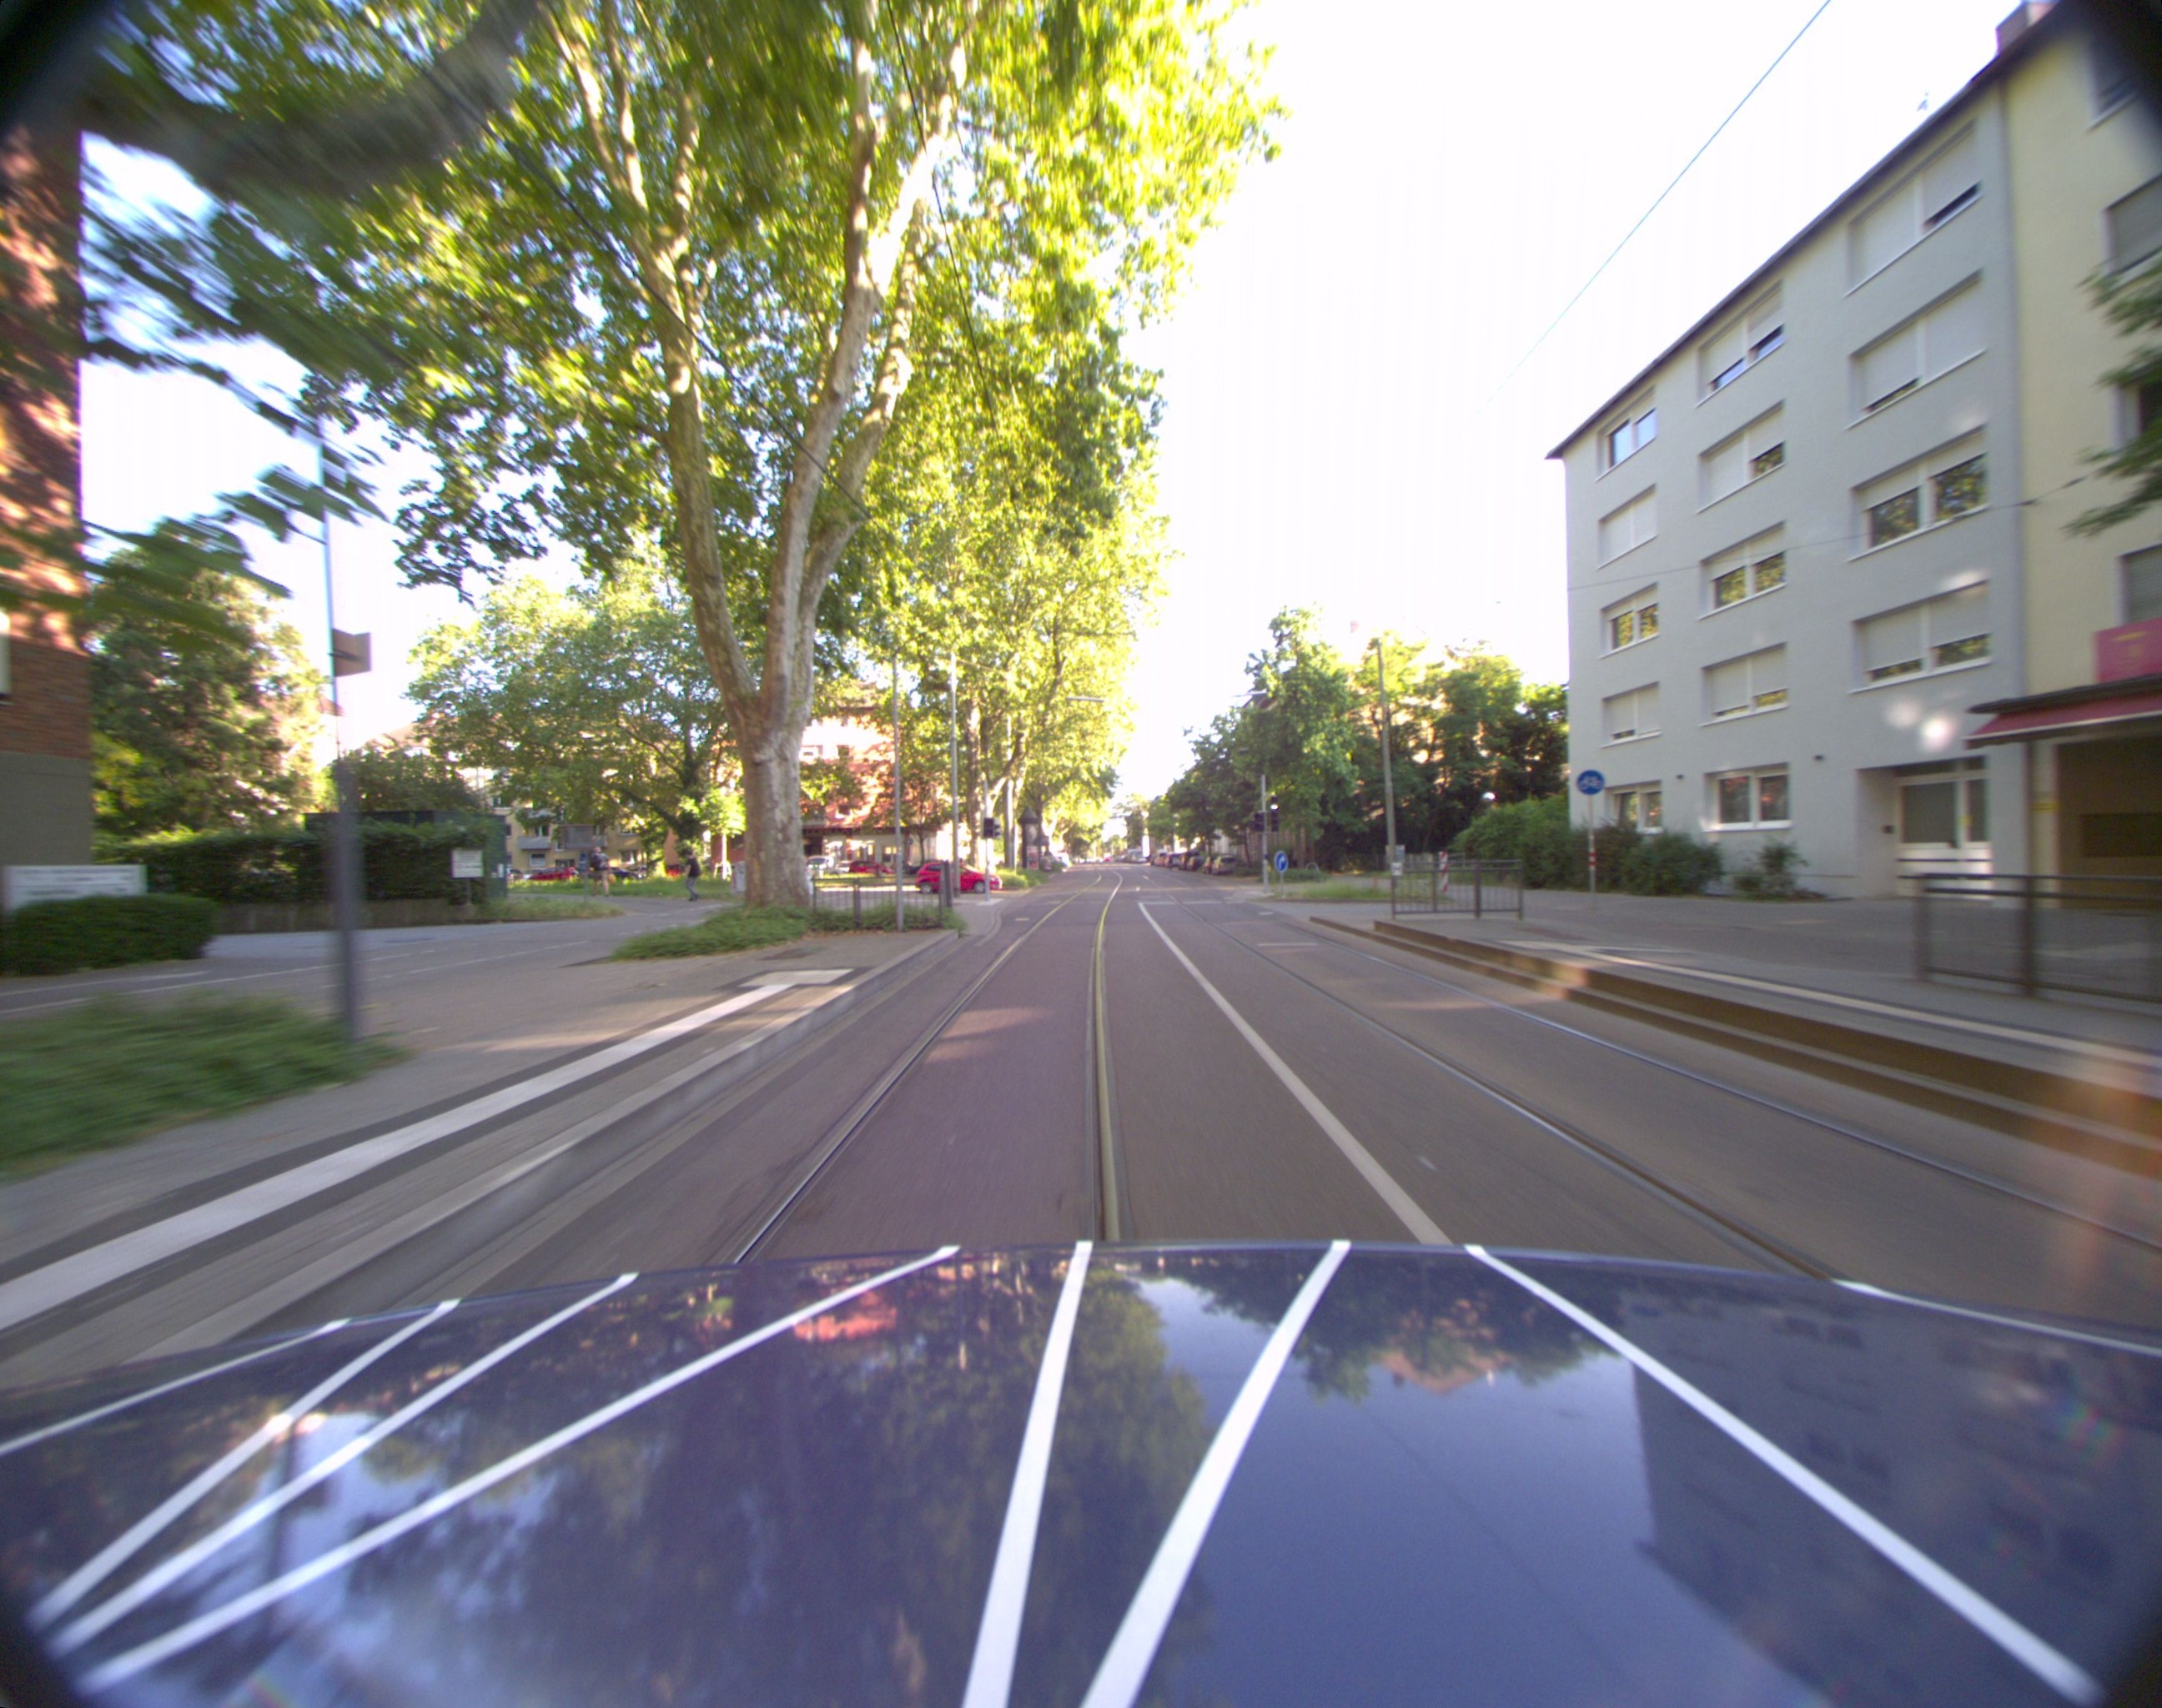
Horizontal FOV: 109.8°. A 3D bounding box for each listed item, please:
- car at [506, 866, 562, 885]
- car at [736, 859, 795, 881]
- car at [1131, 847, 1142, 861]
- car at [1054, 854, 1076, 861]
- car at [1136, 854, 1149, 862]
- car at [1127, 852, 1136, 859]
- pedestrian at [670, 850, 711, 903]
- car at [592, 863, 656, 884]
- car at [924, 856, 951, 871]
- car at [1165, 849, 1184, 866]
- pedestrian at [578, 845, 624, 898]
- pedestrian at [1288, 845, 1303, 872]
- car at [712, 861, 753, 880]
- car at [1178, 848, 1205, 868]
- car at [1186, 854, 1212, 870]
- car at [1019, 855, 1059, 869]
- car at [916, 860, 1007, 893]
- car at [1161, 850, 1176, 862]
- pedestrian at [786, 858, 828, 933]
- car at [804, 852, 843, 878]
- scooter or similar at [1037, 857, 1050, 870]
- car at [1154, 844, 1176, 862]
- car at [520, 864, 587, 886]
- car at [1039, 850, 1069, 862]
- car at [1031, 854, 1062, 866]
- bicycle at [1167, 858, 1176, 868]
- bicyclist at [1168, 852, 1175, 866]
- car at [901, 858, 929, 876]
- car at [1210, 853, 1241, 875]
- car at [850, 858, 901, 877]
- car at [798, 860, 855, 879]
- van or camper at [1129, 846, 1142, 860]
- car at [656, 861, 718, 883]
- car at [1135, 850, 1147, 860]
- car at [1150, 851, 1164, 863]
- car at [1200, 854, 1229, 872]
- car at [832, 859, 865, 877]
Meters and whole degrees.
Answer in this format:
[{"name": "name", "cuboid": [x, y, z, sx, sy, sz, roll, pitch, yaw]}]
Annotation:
[{"name": "car", "cuboid": [-47.712, 1.845, 66.427, 1.794, 1.565, 4.576, -1, 0, -3]}, {"name": "car", "cuboid": [-24.767, 1.248, 59.668, 3.928, 1.572, 1.683, -1, 0, -1]}, {"name": "car", "cuboid": [11.779, -0.081, 161.663, 1.927, 2.730, 4.546, -5, 0, 1]}, {"name": "car", "cuboid": [-3.384, 0.832, 162.680, 4.611, 1.485, 1.893, 0, -1, 3]}, {"name": "car", "cuboid": [11.774, 0.699, 145.168, 1.776, 1.484, 4.940, -2, 0, -2]}, {"name": "car", "cuboid": [11.984, 0.381, 180.342, 1.791, 1.743, 4.435, -2, 0, 0]}, {"name": "pedestrian", "cuboid": [-13.781, 0.784, 26.813, 0.997, 1.800, 0.864, -1, 0, -5]}, {"name": "car", "cuboid": [-35.496, 1.489, 59.071, 3.928, 1.572, 1.683, -1, 0, -1]}, {"name": "car", "cuboid": [-14.303, 0.897, 75.820, 1.753, 1.426, 4.468, -1, 0, 1]}, {"name": "car", "cuboid": [11.481, 0.387, 93.561, 1.848, 1.977, 4.988, -1, 0, 2]}, {"name": "pedestrian", "cuboid": [-17.420, 0.623, 27.598, 0.985, 1.853, 1.015, 2, 0, -5]}, {"name": "pedestrian", "cuboid": [14.662, 0.312, 51.945, 0.743, 1.836, 0.728, -3, 0, -1]}, {"name": "car", "cuboid": [-30.854, 1.407, 67.393, 1.794, 1.565, 4.576, -1, 0, -3]}, {"name": "car", "cuboid": [11.460, 0.439, 79.151, 1.999, 2.002, 4.834, -1, 0, 0]}, {"name": "car", "cuboid": [11.507, 0.735, 74.130, 1.858, 1.450, 4.270, -1, 0, 0]}, {"name": "car", "cuboid": [-4.833, 0.958, 87.471, 4.413, 1.534, 1.952, -1, 0, 3]}, {"name": "car", "cuboid": [-5.510, 1.048, 35.274, 3.893, 1.415, 1.649, -1, 0, 4]}, {"name": "car", "cuboid": [11.872, 0.289, 103.428, 1.689, 1.530, 3.707, -1, 0, 0]}, {"name": "pedestrian", "cuboid": [-6.245, 0.922, 17.354, 0.654, 1.659, 0.738, -1, 1, 0]}, {"name": "car", "cuboid": [-22.798, 0.956, 67.423, 1.917, 2.171, 5.083, -1, 0, -2]}, {"name": "scooter or similar", "cuboid": [-3.556, 0.910, 71.520, 1.211, 1.232, 0.569, -1, 1, -1]}, {"name": "car", "cuboid": [11.962, -0.092, 108.581, 2.310, 2.493, 5.343, -1, 0, -1]}, {"name": "car", "cuboid": [-40.782, 1.592, 58.766, 3.928, 1.572, 1.683, -1, 0, -1]}, {"name": "car", "cuboid": [-4.403, 0.298, 123.365, 4.859, 2.002, 2.194, 0, 0, -3]}, {"name": "car", "cuboid": [-4.795, 0.844, 105.466, 4.211, 1.609, 1.878, -1, 0, -2]}, {"name": "bicycle", "cuboid": [9.178, 0.925, 76.913, 0.642, 0.981, 2.101, 1, 0, 0]}, {"name": "bicyclist", "cuboid": [9.195, 0.512, 77.086, 0.642, 1.447, 0.837, 1, 1, 0]}, {"name": "car", "cuboid": [-14.754, 1.134, 67.769, 1.794, 1.565, 4.576, -1, 0, -5]}, {"name": "car", "cuboid": [11.101, 0.727, 58.600, 1.703, 1.541, 4.537, -2, 0, 4]}, {"name": "car", "cuboid": [-16.045, 1.036, 59.380, 3.547, 1.444, 1.683, -1, 0, -1]}, {"name": "car", "cuboid": [-19.958, 1.187, 59.697, 3.928, 1.444, 1.683, -1, 0, -1]}, {"name": "van or camper", "cuboid": [12.030, -0.225, 168.657, 2.423, 2.960, 5.991, -5, 0, 2]}, {"name": "car", "cuboid": [-30.660, 1.400, 59.256, 3.928, 1.572, 1.683, -1, 0, -1]}, {"name": "car", "cuboid": [12.208, 0.247, 155.717, 1.928, 2.034, 4.941, -2, 0, 0]}, {"name": "car", "cuboid": [11.717, 0.455, 117.799, 1.997, 1.680, 4.262, -1, 0, 3]}, {"name": "car", "cuboid": [11.168, 0.756, 63.657, 1.662, 1.437, 3.949, -2, 0, 0]}, {"name": "car", "cuboid": [-20.616, 1.207, 67.566, 1.794, 1.565, 4.576, -1, 0, -3]}]
